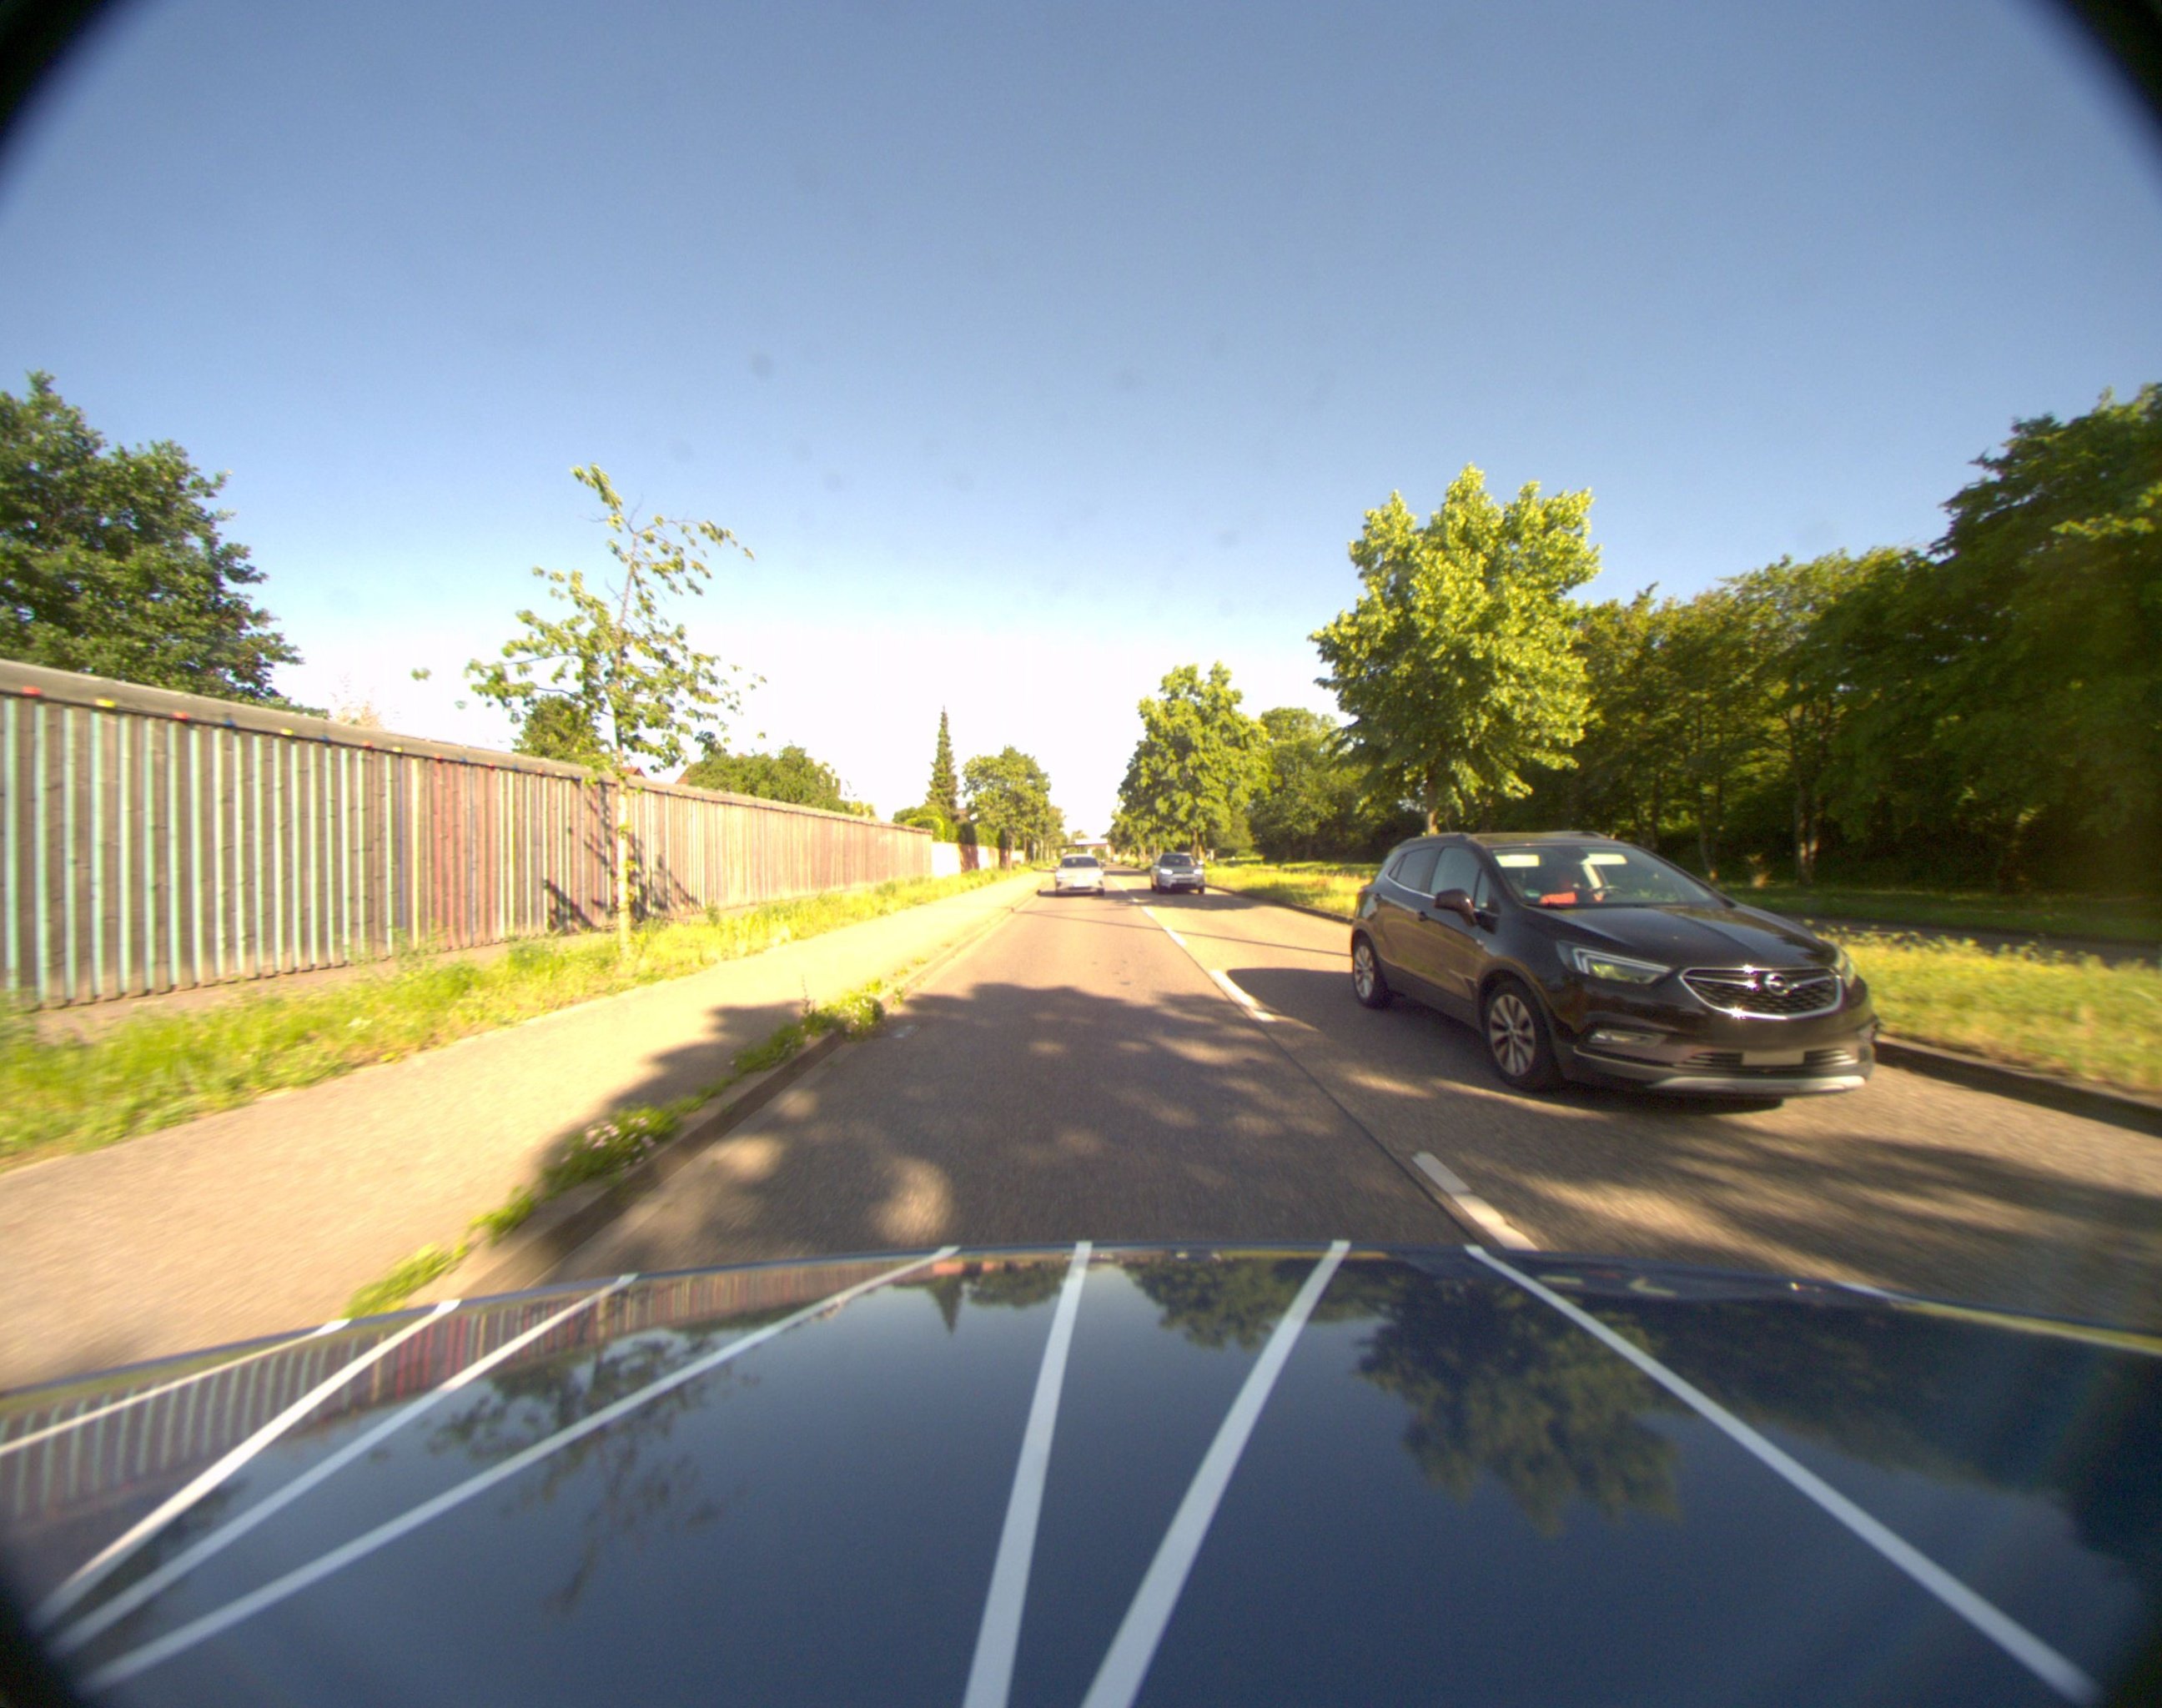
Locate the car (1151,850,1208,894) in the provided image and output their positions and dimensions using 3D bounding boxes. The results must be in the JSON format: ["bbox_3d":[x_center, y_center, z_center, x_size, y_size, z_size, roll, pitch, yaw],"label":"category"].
[{"bbox_3d":[3.825,0.652,30.108,1.789,1.601,4.105,-1,1,1],"label":"car"}]

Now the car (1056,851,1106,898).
[{"bbox_3d":[0.043,0.738,30.081,1.766,1.606,4.296,-3,1,1],"label":"car"}]

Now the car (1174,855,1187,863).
[{"bbox_3d":[17.622,0.857,134.961,1.730,1.448,4.345,1,0,1],"label":"car"}]

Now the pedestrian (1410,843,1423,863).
[{"bbox_3d":[27.792,-0.071,62.887,0.683,1.650,0.679,-4,2,0],"label":"pedestrian"}]

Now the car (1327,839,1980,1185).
[{"bbox_3d":[3.417,0.729,5.804,1.700,1.622,4.417,-1,1,1],"label":"car"}]
